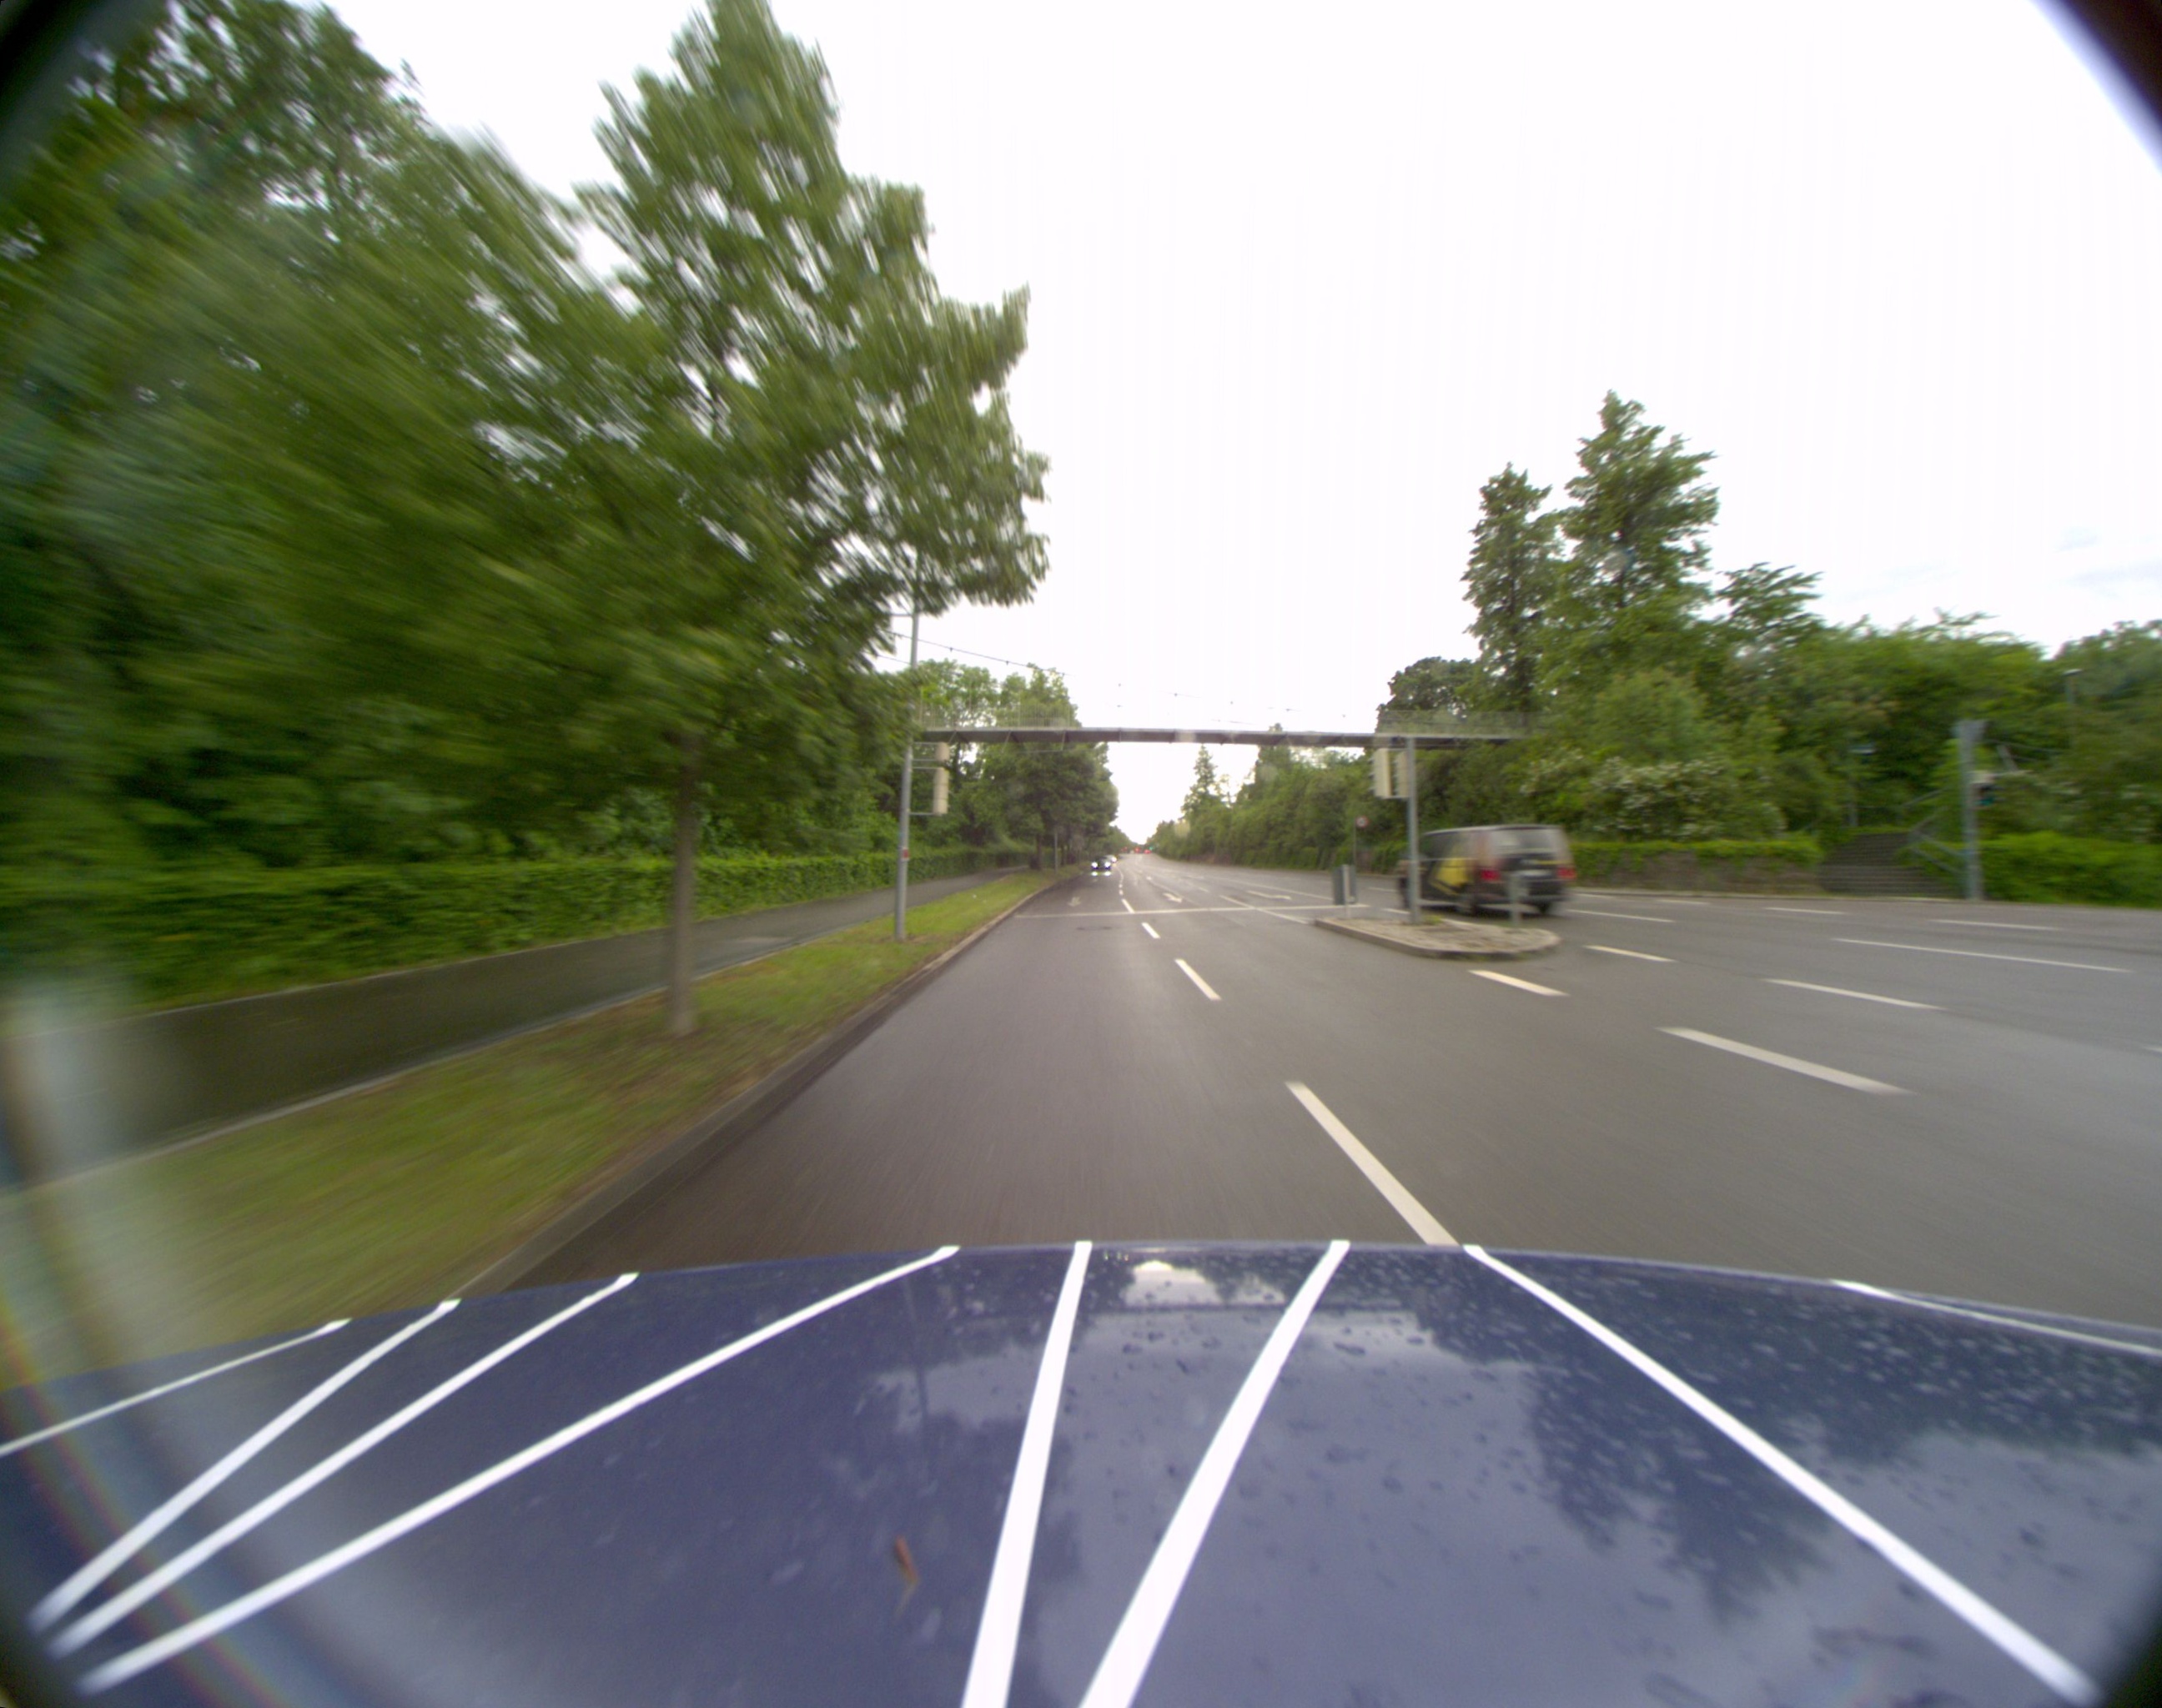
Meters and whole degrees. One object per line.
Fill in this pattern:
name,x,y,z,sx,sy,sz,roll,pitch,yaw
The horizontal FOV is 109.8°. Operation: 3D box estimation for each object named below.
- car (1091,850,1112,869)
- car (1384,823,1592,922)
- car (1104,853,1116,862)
car,1.975,0.495,71.444,1.824,1.547,4.000,-2,1,3
car,9.137,0.363,17.686,2.019,1.908,5.094,-2,0,-1
car,5.233,0.637,135.609,1.823,1.547,4.001,-2,1,5
